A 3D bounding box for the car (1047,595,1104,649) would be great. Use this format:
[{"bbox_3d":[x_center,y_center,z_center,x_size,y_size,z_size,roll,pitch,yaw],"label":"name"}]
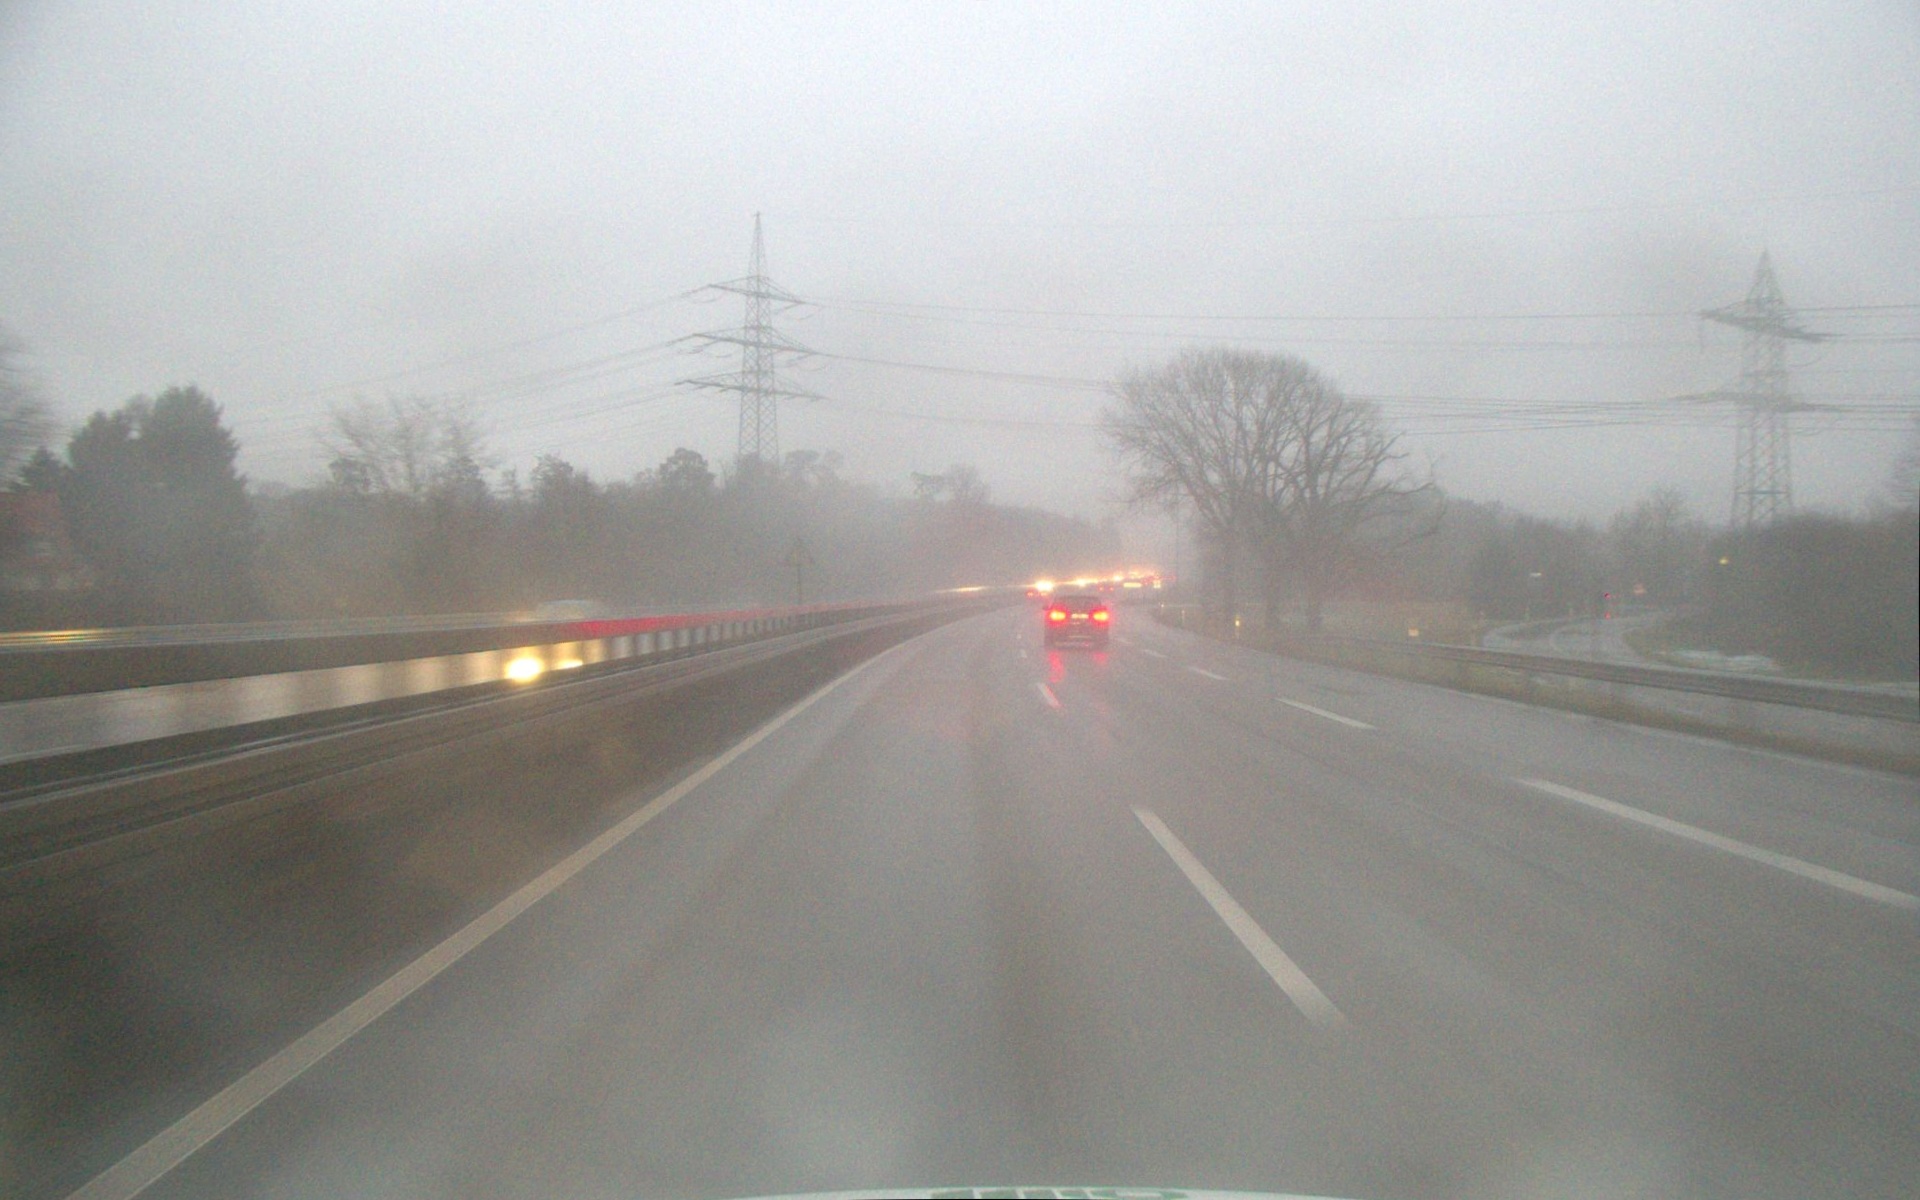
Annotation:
[{"bbox_3d":[3.618,0.651,51.429,1.642,1.535,3.811,0,1,6],"label":"car"}]
